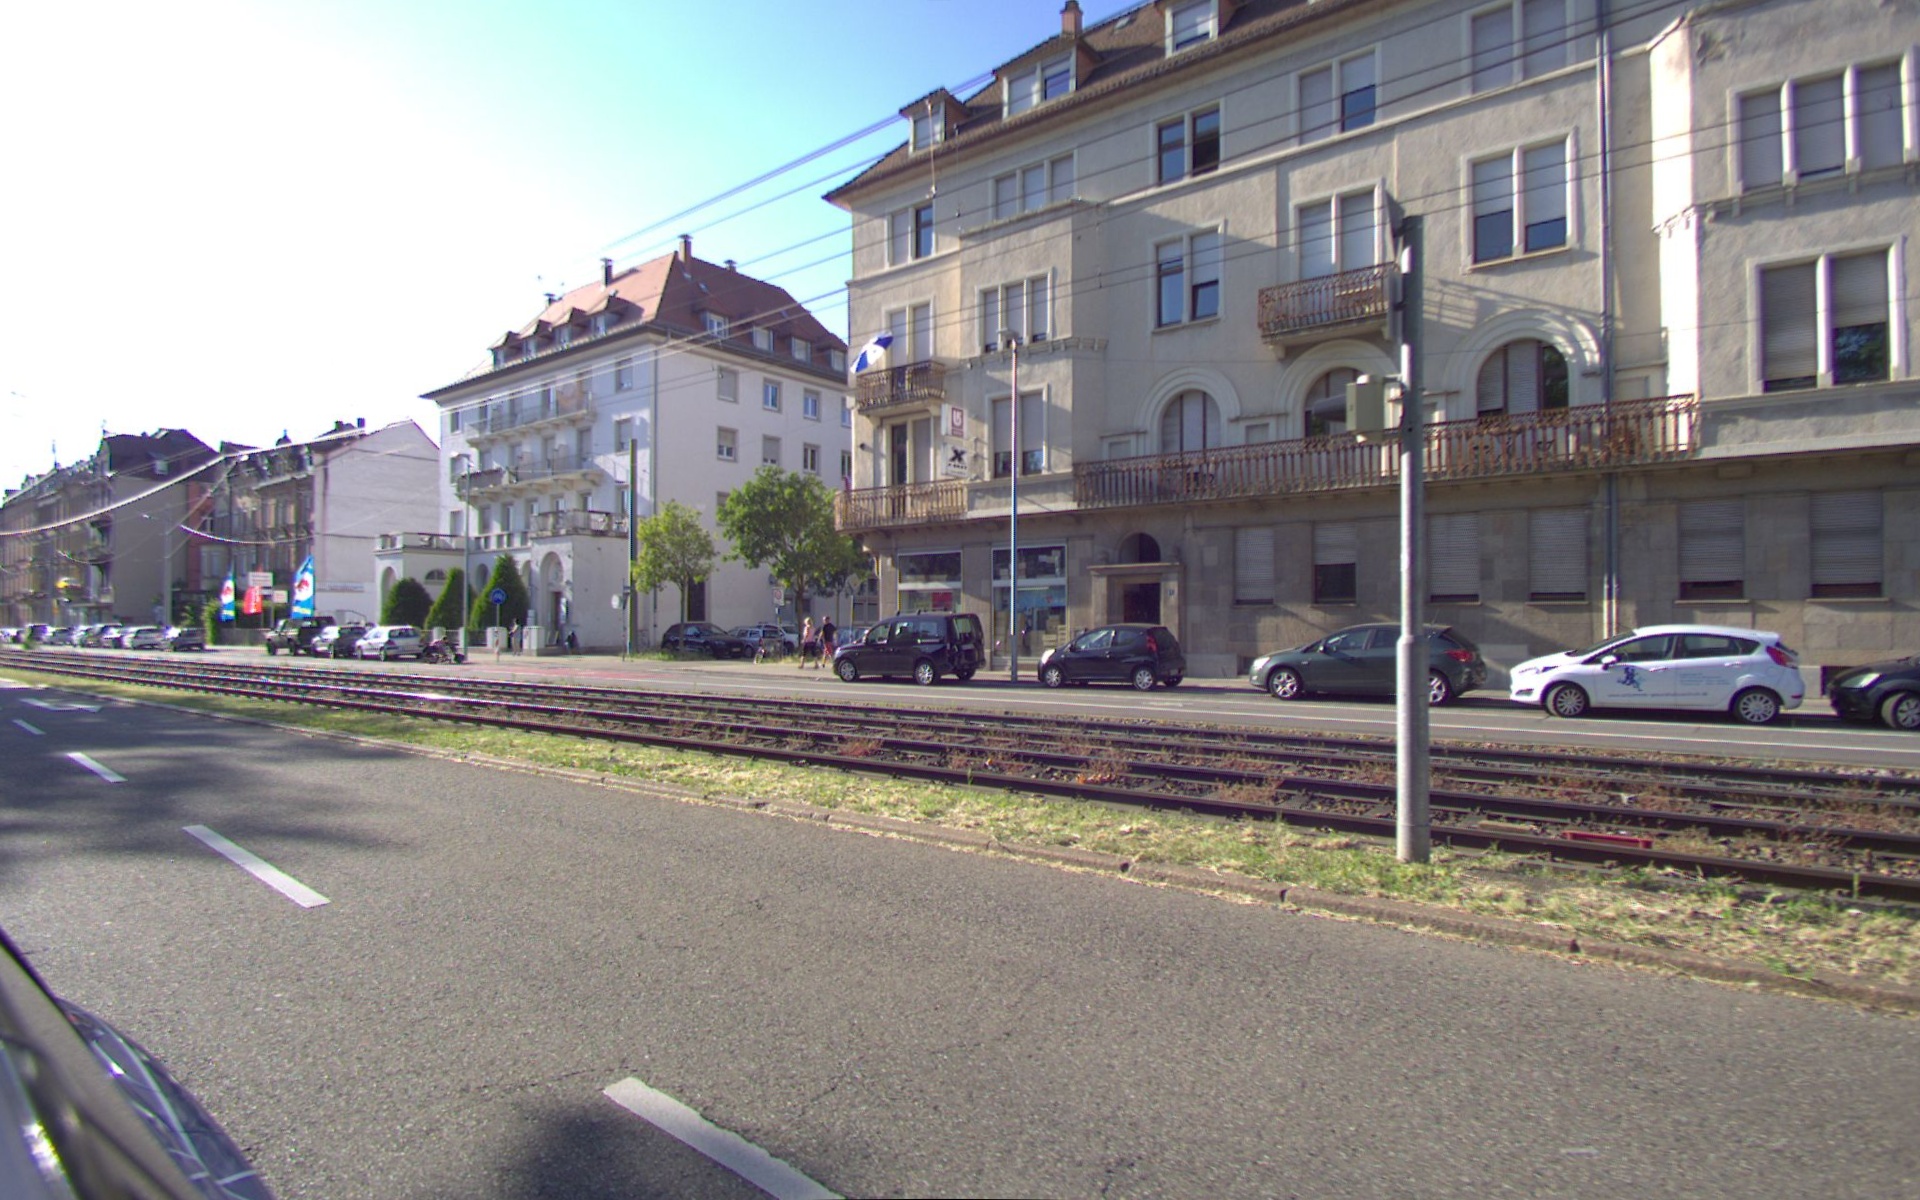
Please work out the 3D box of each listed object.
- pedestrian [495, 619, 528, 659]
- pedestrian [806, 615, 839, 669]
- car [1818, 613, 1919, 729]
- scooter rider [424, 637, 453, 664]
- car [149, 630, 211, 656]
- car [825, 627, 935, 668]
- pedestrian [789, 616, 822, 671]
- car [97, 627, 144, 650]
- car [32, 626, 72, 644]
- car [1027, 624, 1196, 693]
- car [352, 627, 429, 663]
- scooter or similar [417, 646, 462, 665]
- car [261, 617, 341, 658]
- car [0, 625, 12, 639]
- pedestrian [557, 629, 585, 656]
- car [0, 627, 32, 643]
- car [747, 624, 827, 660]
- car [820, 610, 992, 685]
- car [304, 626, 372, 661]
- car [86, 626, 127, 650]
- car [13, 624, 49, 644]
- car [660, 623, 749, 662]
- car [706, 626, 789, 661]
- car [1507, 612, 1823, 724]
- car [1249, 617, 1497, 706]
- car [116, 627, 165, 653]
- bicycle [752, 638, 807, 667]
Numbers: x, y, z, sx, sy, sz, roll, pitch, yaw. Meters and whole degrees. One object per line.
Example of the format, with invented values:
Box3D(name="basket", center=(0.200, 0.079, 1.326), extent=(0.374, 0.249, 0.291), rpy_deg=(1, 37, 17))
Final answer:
Box3D(name="pedestrian", center=(-20.504, 1.760, 46.275), extent=(0.929, 1.791, 0.987), rpy_deg=(-1, 0, 24))
Box3D(name="pedestrian", center=(-4.492, 1.369, 33.072), extent=(0.851, 1.709, 0.587), rpy_deg=(-1, 0, 21))
Box3D(name="car", center=(14.756, 0.968, 14.050), extent=(4.148, 1.479, 1.622), rpy_deg=(-2, 3, 35))
Box3D(name="scooter rider", center=(-21.397, 2.073, 41.518), extent=(0.962, 1.097, 0.810), rpy_deg=(1, -3, -21))
Box3D(name="car", center=(-50.661, 2.800, 65.707), extent=(4.833, 1.471, 1.904), rpy_deg=(-2, 3, 37))
Box3D(name="car", center=(-3.240, 1.889, 40.865), extent=(4.231, 1.475, 1.759), rpy_deg=(-1, 0, 32))
Box3D(name="pedestrian", center=(-4.936, 1.379, 32.428), extent=(0.851, 1.709, 0.587), rpy_deg=(-1, 0, 21))
Box3D(name="car", center=(-62.433, 2.864, 75.211), extent=(4.839, 1.572, 1.901), rpy_deg=(-1, 0, 41))
Box3D(name="car", center=(-81.086, 3.142, 90.345), extent=(4.621, 1.550, 1.902), rpy_deg=(-1, -1, 39))
Box3D(name="car", center=(3.479, 1.315, 23.454), extent=(3.503, 1.401, 1.613), rpy_deg=(-2, 1, 37))
Box3D(name="car", center=(-26.062, 2.022, 46.290), extent=(3.996, 1.521, 1.776), rpy_deg=(-1, 0, 40))
Box3D(name="scooter or similar", center=(-21.359, 2.258, 41.528), extent=(1.542, 0.776, 0.810), rpy_deg=(1, -3, -21))
Box3D(name="car", center=(-35.163, 1.979, 53.918), extent=(5.587, 2.025, 2.056), rpy_deg=(-1, 0, 40))
Box3D(name="car", center=(-99.156, 3.323, 104.245), extent=(3.976, 1.457, 1.644), rpy_deg=(-1, 0, 38))
Box3D(name="pedestrian", center=(-18.086, 1.947, 47.043), extent=(0.892, 1.196, 0.870), rpy_deg=(-1, 0, 30))
Box3D(name="car", center=(-90.710, 3.381, 97.232), extent=(3.976, 1.457, 1.644), rpy_deg=(-1, 0, 38))
Box3D(name="car", center=(-8.856, 2.122, 51.600), extent=(3.994, 1.671, 1.777), rpy_deg=(0, -1, 38))
Box3D(name="car", center=(-1.493, 1.241, 26.831), extent=(4.394, 1.800, 1.845), rpy_deg=(-2, -1, 38))
Box3D(name="car", center=(-30.567, 2.096, 49.693), extent=(4.156, 1.518, 1.618), rpy_deg=(0, 0, 40))
Box3D(name="car", center=(-66.764, 2.964, 79.128), extent=(4.497, 1.794, 1.900), rpy_deg=(-2, -1, 43))
Box3D(name="car", center=(-86.328, 3.155, 94.054), extent=(4.720, 1.821, 1.644), rpy_deg=(-1, 0, 37))
Box3D(name="car", center=(-11.960, 1.966, 47.216), extent=(4.256, 1.653, 1.777), rpy_deg=(0, -1, 38))
Box3D(name="car", center=(-10.430, 2.102, 49.556), extent=(3.994, 1.522, 1.777), rpy_deg=(0, -1, 38))
Box3D(name="car", center=(11.173, 1.055, 16.352), extent=(3.971, 1.479, 1.623), rpy_deg=(-2, 3, 33))
Box3D(name="car", center=(7.925, 1.128, 19.625), extent=(4.153, 1.480, 1.620), rpy_deg=(-1, 1, 38))
Box3D(name="car", center=(-57.939, 2.813, 71.524), extent=(4.839, 1.707, 1.901), rpy_deg=(-2, -1, 41))
Box3D(name="bicycle", center=(-6.915, 1.995, 38.722), extent=(2.411, 1.023, 0.677), rpy_deg=(-2, -1, 41))
